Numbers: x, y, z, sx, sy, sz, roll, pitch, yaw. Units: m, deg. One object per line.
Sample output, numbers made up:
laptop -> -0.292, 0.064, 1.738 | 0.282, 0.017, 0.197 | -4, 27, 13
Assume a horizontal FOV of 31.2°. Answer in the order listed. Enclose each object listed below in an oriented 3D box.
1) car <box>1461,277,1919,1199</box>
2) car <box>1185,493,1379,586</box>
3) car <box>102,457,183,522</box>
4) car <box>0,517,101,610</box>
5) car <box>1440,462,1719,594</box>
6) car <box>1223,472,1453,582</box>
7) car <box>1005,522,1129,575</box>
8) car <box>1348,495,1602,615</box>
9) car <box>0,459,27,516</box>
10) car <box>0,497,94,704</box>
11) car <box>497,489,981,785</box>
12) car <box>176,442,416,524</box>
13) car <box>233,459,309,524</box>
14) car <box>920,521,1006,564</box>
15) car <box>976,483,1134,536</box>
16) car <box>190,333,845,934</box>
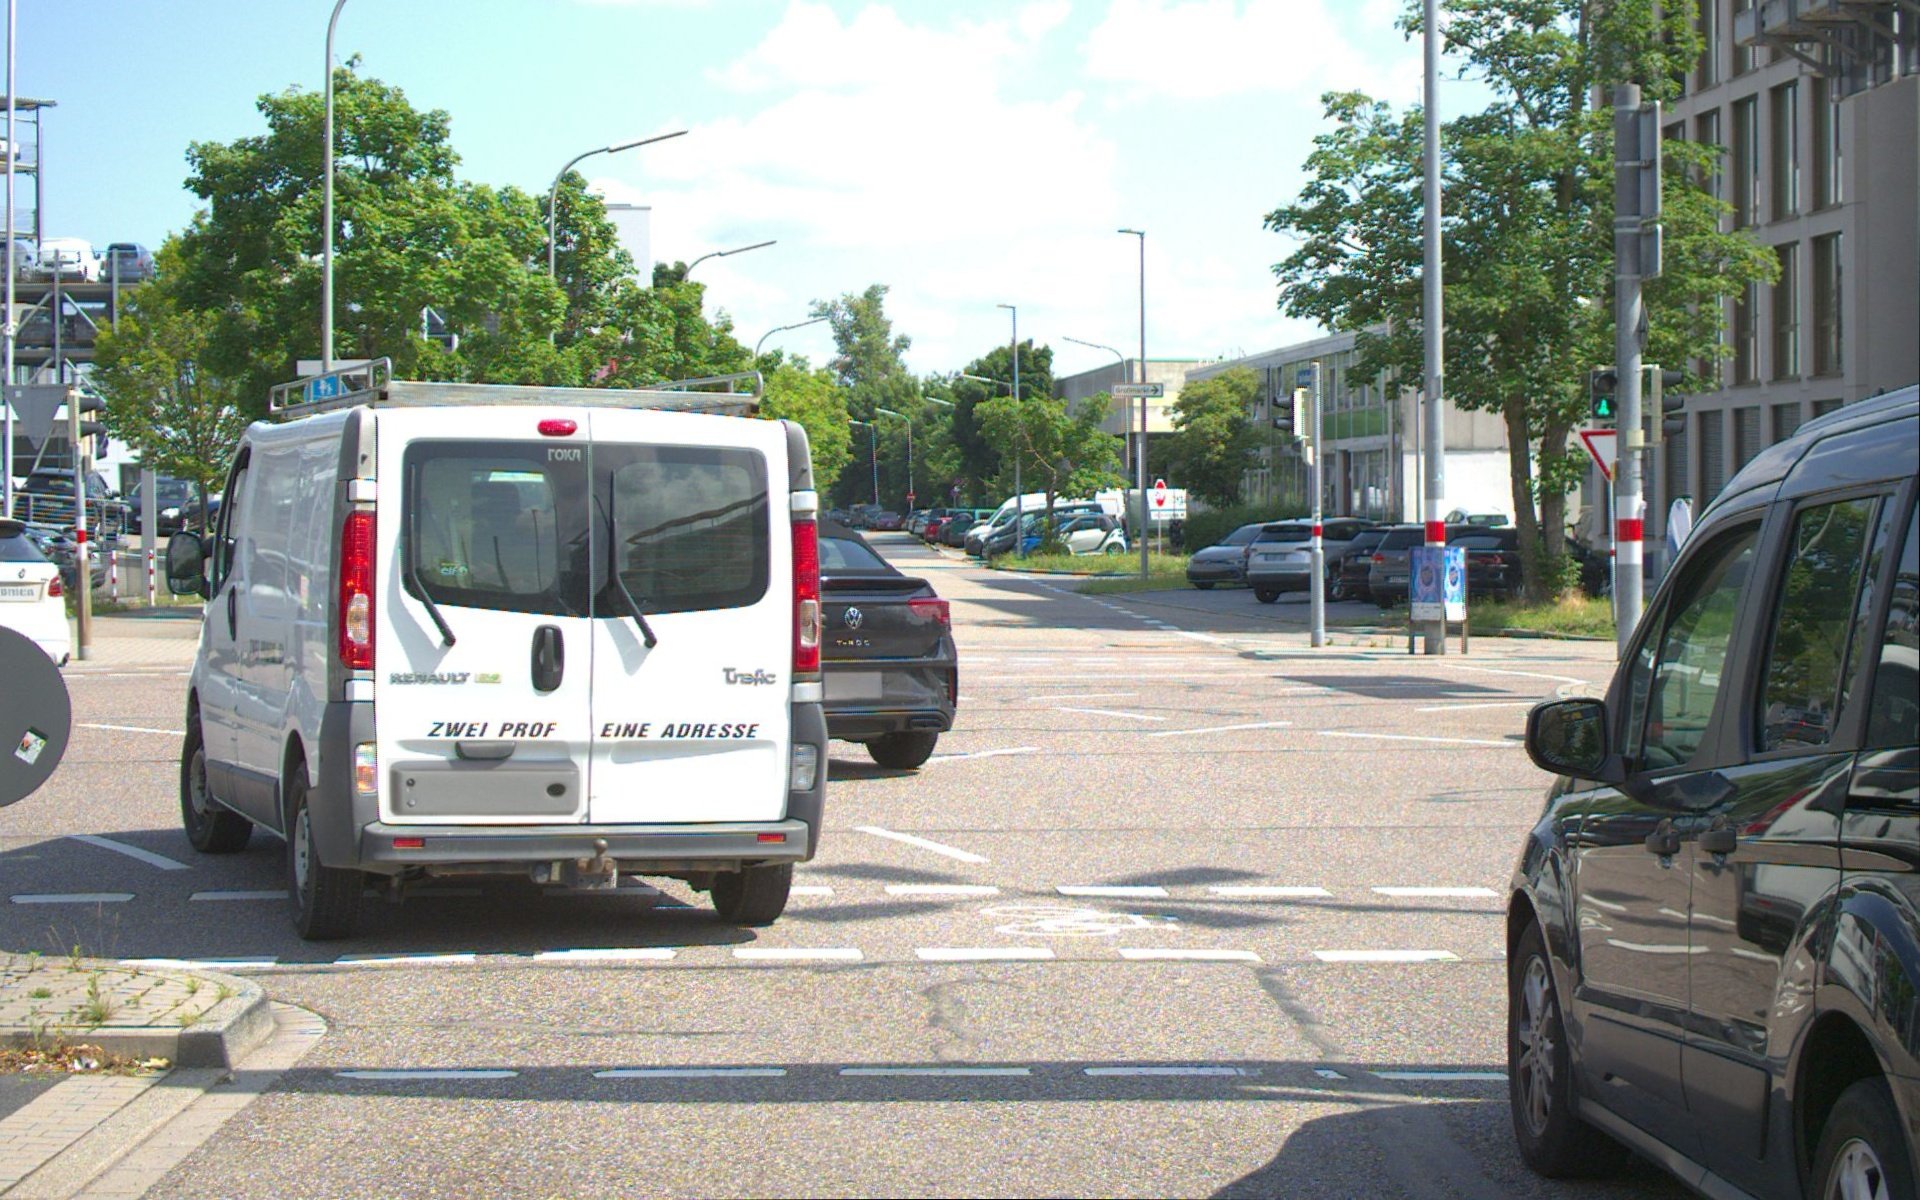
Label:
car -> 2.287, 0.440, 6.737 | 1.823, 1.898, 4.001 | 1, 1, -3
car -> 7.309, -1.369, 78.175 | 3.986, 2.007, 2.001 | 1, 0, -9
car -> -21.050, -2.828, 88.607 | 1.560, 1.547, 3.603 | 1, 0, -6
car -> -18.418, -0.709, 63.677 | 4.574, 1.672, 1.907 | 1, 0, -4
car -> 10.011, -1.151, 55.728 | 3.986, 2.007, 2.001 | 1, 0, -9
car -> 7.272, -1.397, 66.341 | 3.986, 2.007, 2.001 | 1, 0, -9
car -> 3.649, -1.757, 117.752 | 3.986, 1.744, 2.000 | 1, 0, -5
car -> 9.073, -0.787, 60.716 | 3.986, 2.007, 2.001 | 1, 0, -9
car -> -28.081, -3.155, 95.642 | 3.986, 1.547, 1.765 | 1, 0, -12
car -> -9.235, -0.039, 27.864 | 3.991, 1.612, 1.775 | 1, 0, 22
car -> -1.460, 0.164, 21.034 | 1.773, 1.624, 4.001 | 0, 1, -22
car -> -18.430, -3.245, 95.593 | 6.386, 2.095, 1.765 | 1, 0, -6
car -> -17.659, -2.767, 88.201 | 1.560, 1.547, 3.603 | 1, 0, -6
car -> 0.145, -2.849, 170.887 | 3.986, 2.007, 2.001 | 1, 0, -9
car -> 3.900, -3.740, 142.417 | 6.340, 2.007, 2.573 | 1, 0, -3
car -> -2.013, 0.075, 14.214 | 1.972, 2.053, 4.566 | 0, 1, -16
